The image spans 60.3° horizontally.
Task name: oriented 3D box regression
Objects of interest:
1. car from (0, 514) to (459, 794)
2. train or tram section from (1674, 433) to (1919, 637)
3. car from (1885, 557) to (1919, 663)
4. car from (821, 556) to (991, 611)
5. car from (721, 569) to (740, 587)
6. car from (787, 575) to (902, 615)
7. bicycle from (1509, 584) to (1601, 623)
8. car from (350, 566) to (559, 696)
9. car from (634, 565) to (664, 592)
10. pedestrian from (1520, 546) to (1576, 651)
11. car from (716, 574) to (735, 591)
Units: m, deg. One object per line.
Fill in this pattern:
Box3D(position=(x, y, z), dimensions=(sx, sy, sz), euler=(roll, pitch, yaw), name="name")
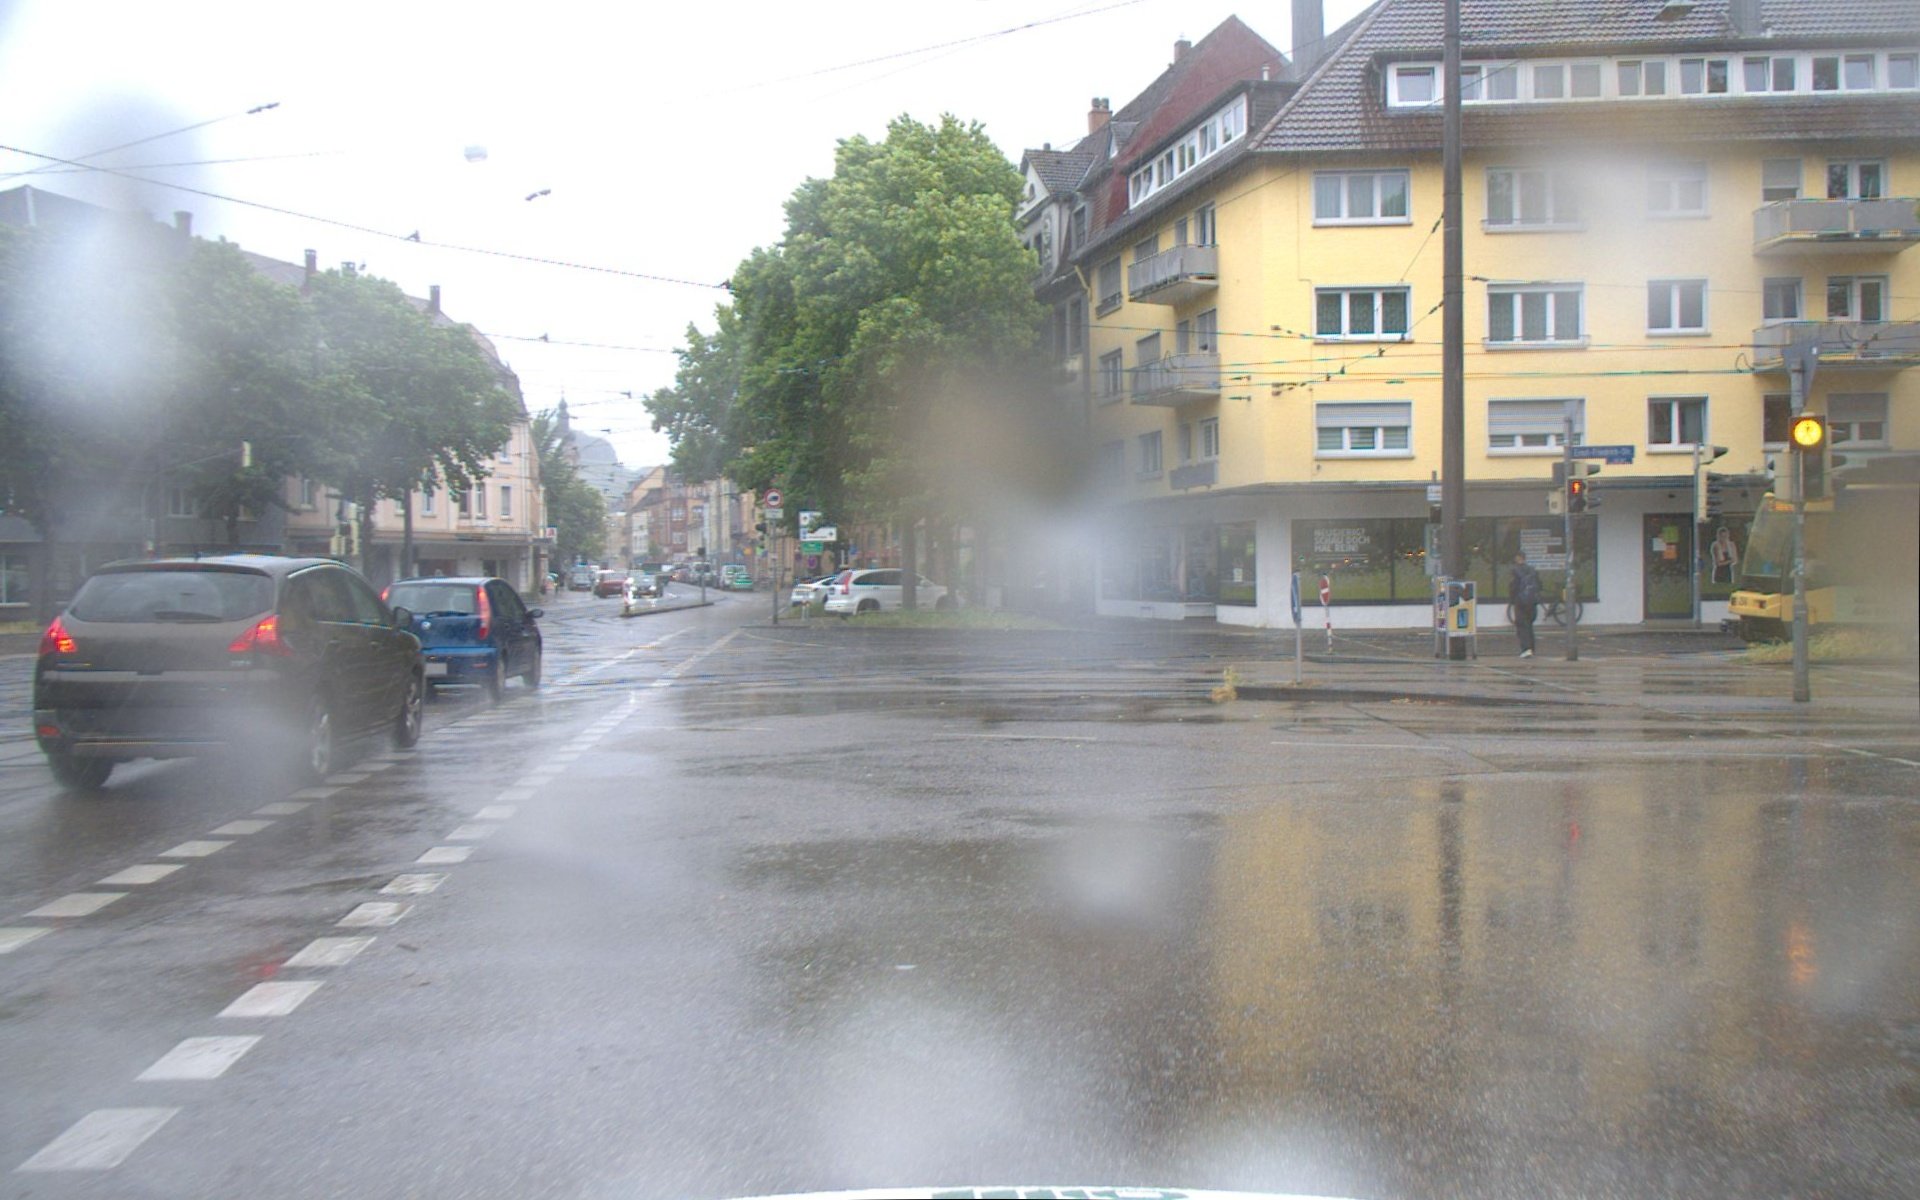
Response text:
Box3D(position=(-5.230, 0.293, 12.418), dimensions=(1.765, 1.739, 4.190), euler=(0, 1, -2), name="car")
Box3D(position=(21.097, -1.160, 30.668), dimensions=(14.225, 3.620, 3.118), euler=(0, 1, 3), name="train or tram section")
Box3D(position=(15.981, 0.116, 23.916), dimensions=(4.184, 1.528, 1.879), euler=(-1, 1, -2), name="car")
Box3D(position=(-1.673, -0.533, 51.142), dimensions=(4.898, 1.499, 1.989), euler=(-2, 2, -19), name="car")
Box3D(position=(-18.888, -1.814, 136.201), dimensions=(1.449, 1.386, 3.454), euler=(1, 0, -10), name="car")
Box3D(position=(-4.924, -0.238, 70.758), dimensions=(4.482, 1.583, 2.002), euler=(-1, 2, 12), name="car")
Box3D(position=(14.322, 0.079, 39.850), dimensions=(1.996, 0.912, 0.614), euler=(-1, 1, 4), name="bicycle")
Box3D(position=(-6.279, 0.414, 20.951), dimensions=(1.846, 1.485, 3.826), euler=(0, -2, -7), name="car")
Box3D(position=(-20.981, -1.409, 111.452), dimensions=(1.958, 1.718, 3.989), euler=(1, 0, -11), name="car")
Box3D(position=(9.786, -0.032, 27.552), dimensions=(0.795, 1.706, 1.018), euler=(0, 1, 16), name="pedestrian")
Box3D(position=(-20.225, -1.483, 142.561), dimensions=(1.449, 1.386, 3.454), euler=(1, 0, -10), name="car")
